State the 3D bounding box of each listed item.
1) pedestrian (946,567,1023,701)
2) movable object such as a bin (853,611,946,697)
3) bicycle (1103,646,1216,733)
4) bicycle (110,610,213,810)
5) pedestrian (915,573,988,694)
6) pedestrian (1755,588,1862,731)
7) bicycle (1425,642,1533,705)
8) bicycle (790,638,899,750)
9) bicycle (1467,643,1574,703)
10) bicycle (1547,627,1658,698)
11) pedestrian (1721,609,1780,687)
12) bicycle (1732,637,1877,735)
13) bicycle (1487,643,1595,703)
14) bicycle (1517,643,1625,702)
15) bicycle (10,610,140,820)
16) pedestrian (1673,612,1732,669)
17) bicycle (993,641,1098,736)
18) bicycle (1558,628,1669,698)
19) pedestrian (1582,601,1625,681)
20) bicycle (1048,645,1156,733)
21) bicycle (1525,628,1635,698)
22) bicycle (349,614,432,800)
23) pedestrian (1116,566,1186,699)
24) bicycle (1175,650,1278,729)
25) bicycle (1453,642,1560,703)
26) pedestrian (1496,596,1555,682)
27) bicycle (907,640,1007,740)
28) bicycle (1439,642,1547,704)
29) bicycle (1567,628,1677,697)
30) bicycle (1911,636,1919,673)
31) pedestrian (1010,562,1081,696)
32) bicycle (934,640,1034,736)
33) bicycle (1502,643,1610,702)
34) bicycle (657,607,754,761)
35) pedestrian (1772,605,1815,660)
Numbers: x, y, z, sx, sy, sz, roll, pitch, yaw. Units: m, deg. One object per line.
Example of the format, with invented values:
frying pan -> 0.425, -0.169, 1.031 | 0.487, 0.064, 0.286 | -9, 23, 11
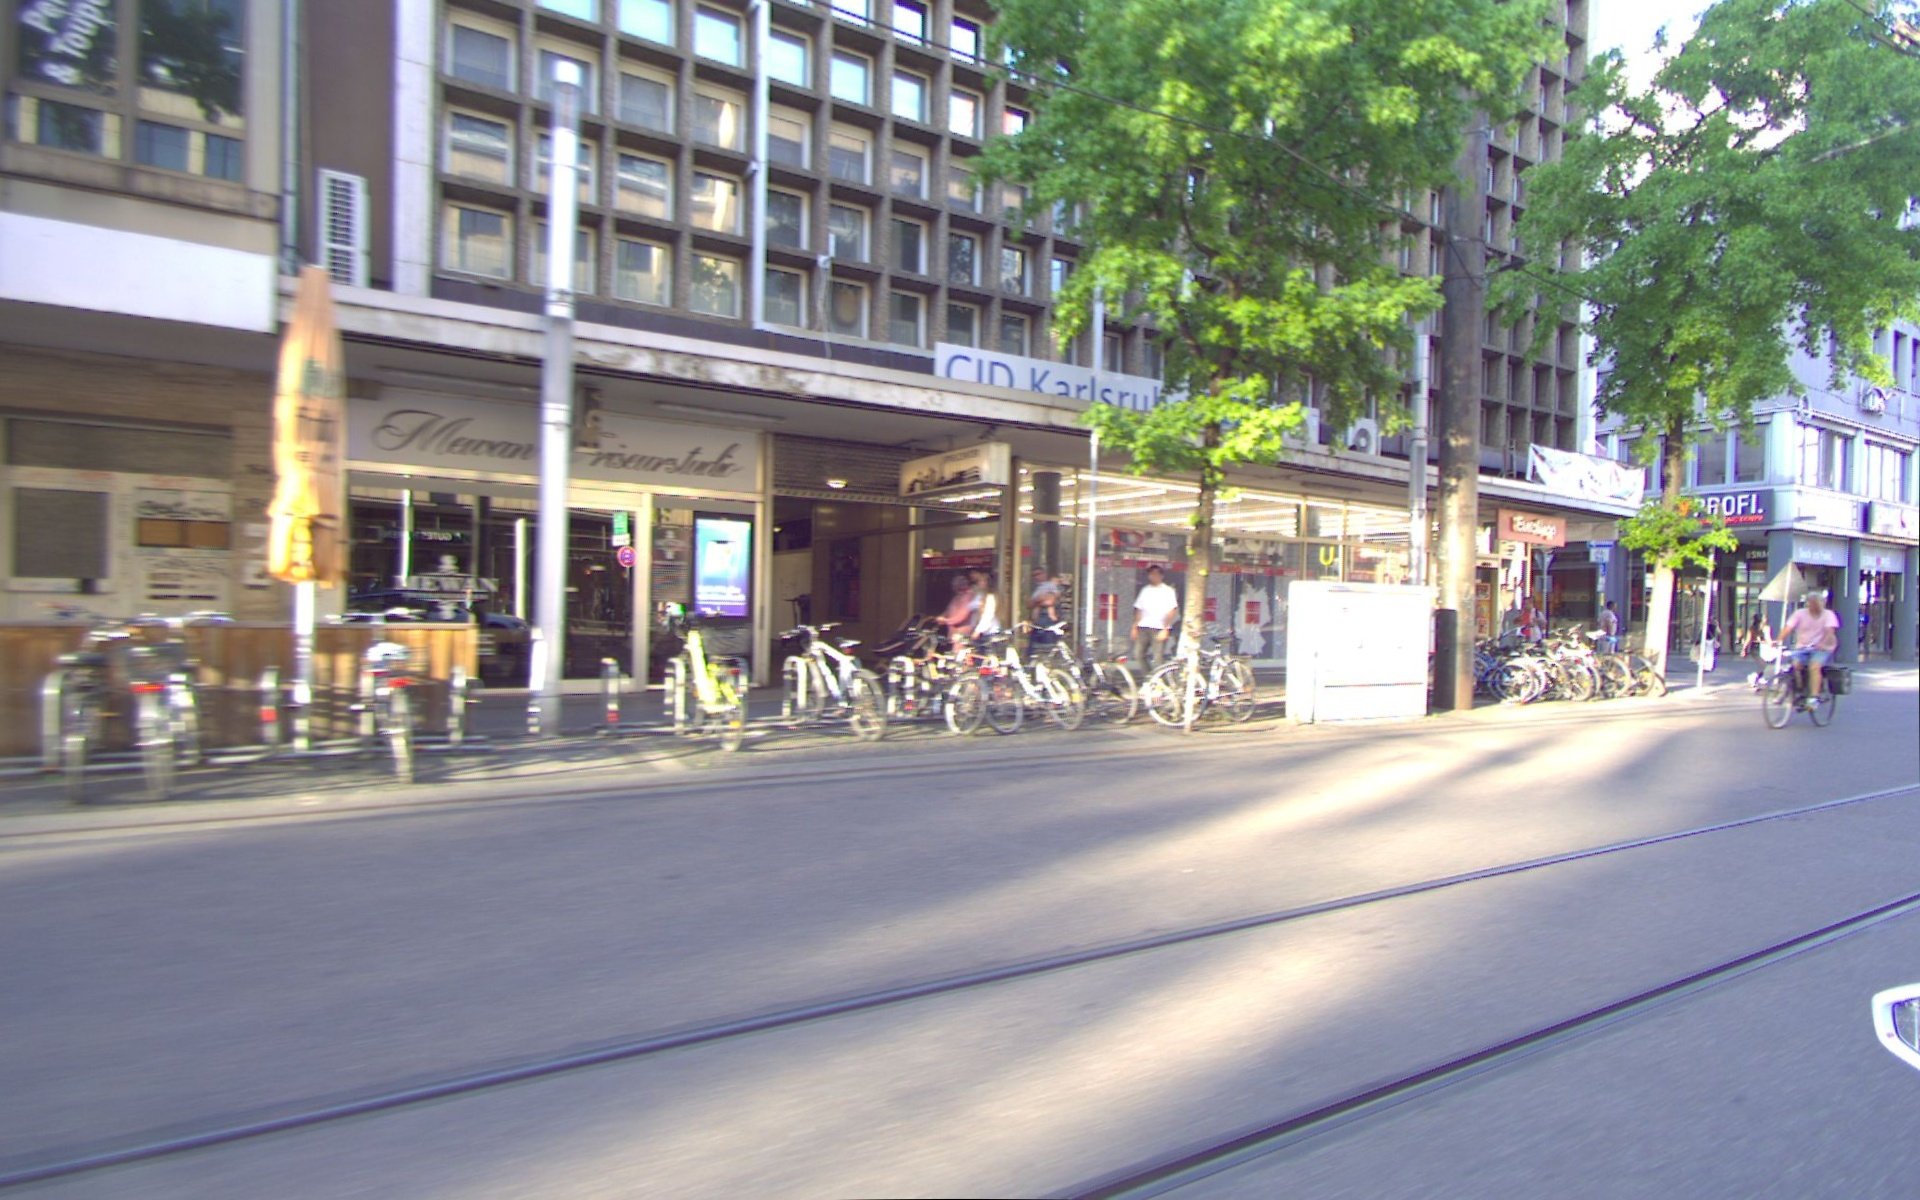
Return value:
pedestrian -> 0.310, 0.426, 12.923 | 0.678, 1.661, 0.709 | 1, 0, -36
movable object such as a bin -> -0.788, 0.678, 13.016 | 0.972, 1.053, 0.709 | 1, 0, -36
bicycle -> 2.177, 0.963, 11.135 | 0.340, 0.794, 1.486 | 1, 1, -28
bicycle -> -5.265, 0.650, 6.677 | 0.373, 1.092, 1.777 | 1, 2, -34
pedestrian -> -0.119, 0.440, 13.515 | 0.678, 1.568, 0.709 | 1, 0, -36
pedestrian -> 11.294, 0.769, 13.375 | 0.839, 1.806, 0.795 | 1, 2, -31
bicycle -> 7.784, 1.085, 15.121 | 0.340, 0.794, 1.486 | 1, 1, -28
bicycle -> -1.128, 0.858, 9.569 | 0.341, 0.888, 1.482 | 1, 2, -36
bicycle -> 8.703, 1.114, 15.653 | 0.340, 0.794, 1.486 | 1, 1, -28
bicycle -> 10.589, 1.016, 16.596 | 0.342, 1.042, 1.480 | 1, 2, -40
pedestrian -> 17.401, 1.042, 22.109 | 0.970, 1.644, 0.744 | 1, 0, -33
bicycle -> 11.253, 1.104, 13.366 | 2.232, 1.158, 0.795 | 1, 2, -32
bicycle -> 9.071, 1.122, 15.731 | 0.340, 0.794, 1.486 | 1, 1, -28
bicycle -> 9.722, 1.134, 16.042 | 0.340, 0.794, 1.486 | 1, 1, -28
bicycle -> -5.593, 0.650, 6.408 | 0.373, 1.092, 1.777 | 1, 2, -34
pedestrian -> 21.308, 1.159, 28.863 | 0.993, 1.583, 0.981 | 1, 0, 9
bicycle -> 0.883, 0.913, 10.752 | 0.340, 0.852, 1.486 | 1, 1, -28
bicycle -> 10.900, 1.024, 16.795 | 0.342, 1.042, 1.480 | 1, 2, -40
pedestrian -> 14.889, 0.936, 23.253 | 0.712, 1.785, 0.818 | 1, 0, 25
bicycle -> 1.524, 0.950, 11.030 | 0.340, 0.794, 1.486 | 1, 1, -28
bicycle -> 10.151, 1.010, 16.488 | 0.342, 1.023, 1.480 | 1, 2, -40
bicycle -> -4.106, 0.687, 7.195 | 0.373, 1.092, 1.835 | 1, 2, -34
pedestrian -> 2.668, 0.437, 14.020 | 0.775, 1.790, 0.535 | 1, 0, 36
bicycle -> 3.018, 0.990, 11.337 | 1.393, 0.794, 0.341 | 1, 2, -39
bicycle -> 8.394, 1.100, 15.477 | 0.340, 0.794, 1.486 | 1, 1, -28
pedestrian -> 12.113, 0.822, 21.526 | 0.771, 1.785, 0.811 | 1, 0, -32
bicycle -> -0.059, 0.890, 10.320 | 0.340, 0.852, 1.486 | 1, 1, -28
bicycle -> 8.087, 1.092, 15.299 | 0.340, 0.794, 1.486 | 1, 1, -28
bicycle -> 11.193, 1.034, 17.025 | 0.342, 1.042, 1.480 | 1, 2, -40
bicycle -> 27.984, 1.560, 28.371 | 2.006, 1.023, 0.719 | 1, 0, -17
pedestrian -> 1.185, 0.386, 13.863 | 0.704, 1.790, 0.682 | 1, 0, 35
bicycle -> 0.223, 0.896, 10.631 | 0.340, 0.852, 1.486 | 1, 1, -28
bicycle -> 9.400, 1.124, 15.890 | 0.340, 0.794, 1.486 | 1, 1, -28
bicycle -> -2.294, 0.681, 8.909 | 0.372, 1.156, 1.838 | 1, 1, -28
pedestrian -> 27.188, 1.055, 32.766 | 0.970, 1.729, 0.817 | 1, 0, -32
